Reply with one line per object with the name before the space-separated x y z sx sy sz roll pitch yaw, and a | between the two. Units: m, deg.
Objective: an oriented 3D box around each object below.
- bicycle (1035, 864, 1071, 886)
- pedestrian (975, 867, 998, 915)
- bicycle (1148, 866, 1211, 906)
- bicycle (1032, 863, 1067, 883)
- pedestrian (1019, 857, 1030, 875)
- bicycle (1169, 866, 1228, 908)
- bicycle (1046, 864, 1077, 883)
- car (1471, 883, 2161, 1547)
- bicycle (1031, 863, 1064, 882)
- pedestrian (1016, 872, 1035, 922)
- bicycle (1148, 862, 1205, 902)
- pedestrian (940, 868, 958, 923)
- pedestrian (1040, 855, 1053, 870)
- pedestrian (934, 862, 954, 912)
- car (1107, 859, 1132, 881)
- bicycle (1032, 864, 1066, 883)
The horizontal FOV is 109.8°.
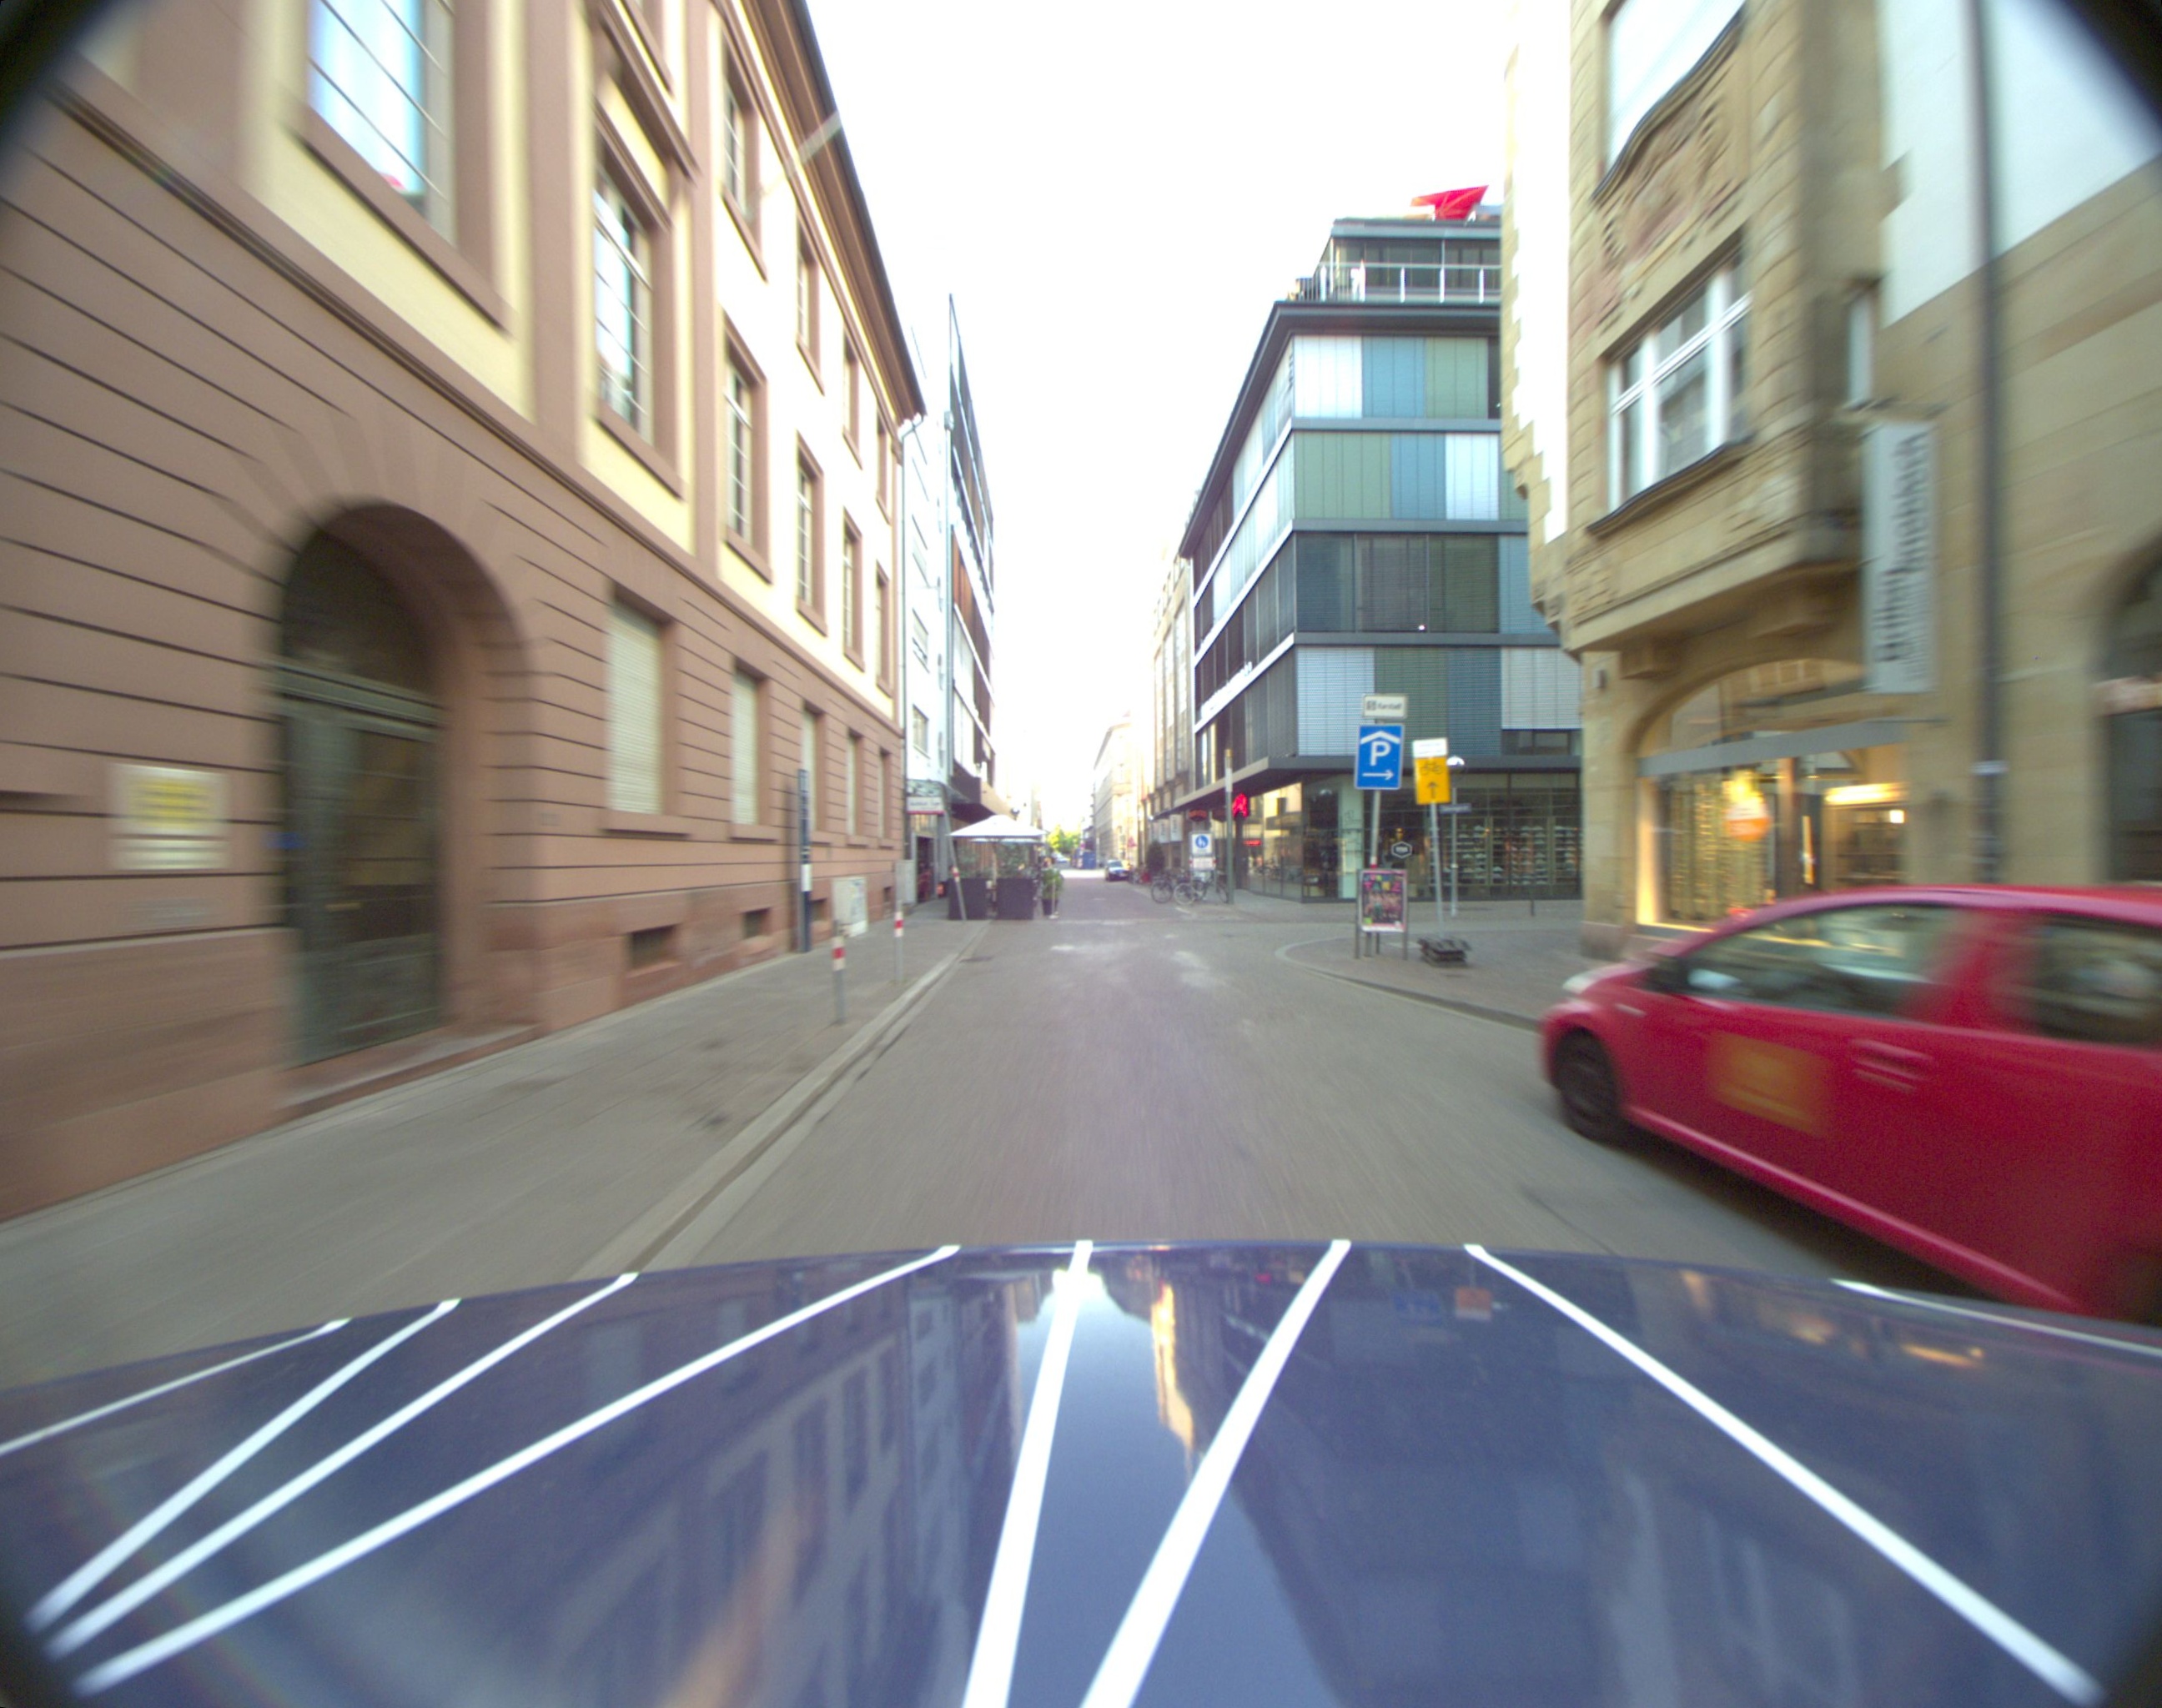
bicycle | -1.616 1.198 43.688 2.039 1.161 0.665 2 0 -3
pedestrian | -2.897 1.115 23.298 0.575 1.411 0.868 -1 0 -1
bicycle | 3.199 1.036 24.695 1.903 1.174 0.517 -3 -1 -3
bicycle | -1.879 1.118 45.148 2.039 1.161 0.618 1 0 -3
pedestrian | -5.148 1.108 68.847 0.781 1.612 0.637 1 1 39
bicycle | 3.577 1.001 23.126 1.670 1.197 0.509 -3 0 -2
bicycle | -1.288 1.259 50.279 2.039 1.209 0.618 -1 0 -3
car | 3.441 0.949 3.054 1.662 1.461 3.931 1 1 -1
bicycle | -2.121 1.174 47.527 2.039 1.161 0.618 -1 0 -3
pedestrian | -1.358 1.038 18.547 0.400 1.206 0.383 -1 0 -11
bicycle | 3.424 0.992 27.369 1.902 1.262 0.538 -5 0 -1
pedestrian | -3.209 1.001 18.466 0.363 1.298 0.494 -1 0 -16
pedestrian | -3.582 0.848 79.216 0.917 1.563 0.995 0 1 42
pedestrian | -4.937 1.192 27.390 0.640 1.762 0.602 -1 0 -7
car | 2.587 1.058 51.572 1.602 1.414 3.605 -1 0 2
bicycle | -1.947 1.177 46.404 2.039 1.161 0.618 -1 0 -3
